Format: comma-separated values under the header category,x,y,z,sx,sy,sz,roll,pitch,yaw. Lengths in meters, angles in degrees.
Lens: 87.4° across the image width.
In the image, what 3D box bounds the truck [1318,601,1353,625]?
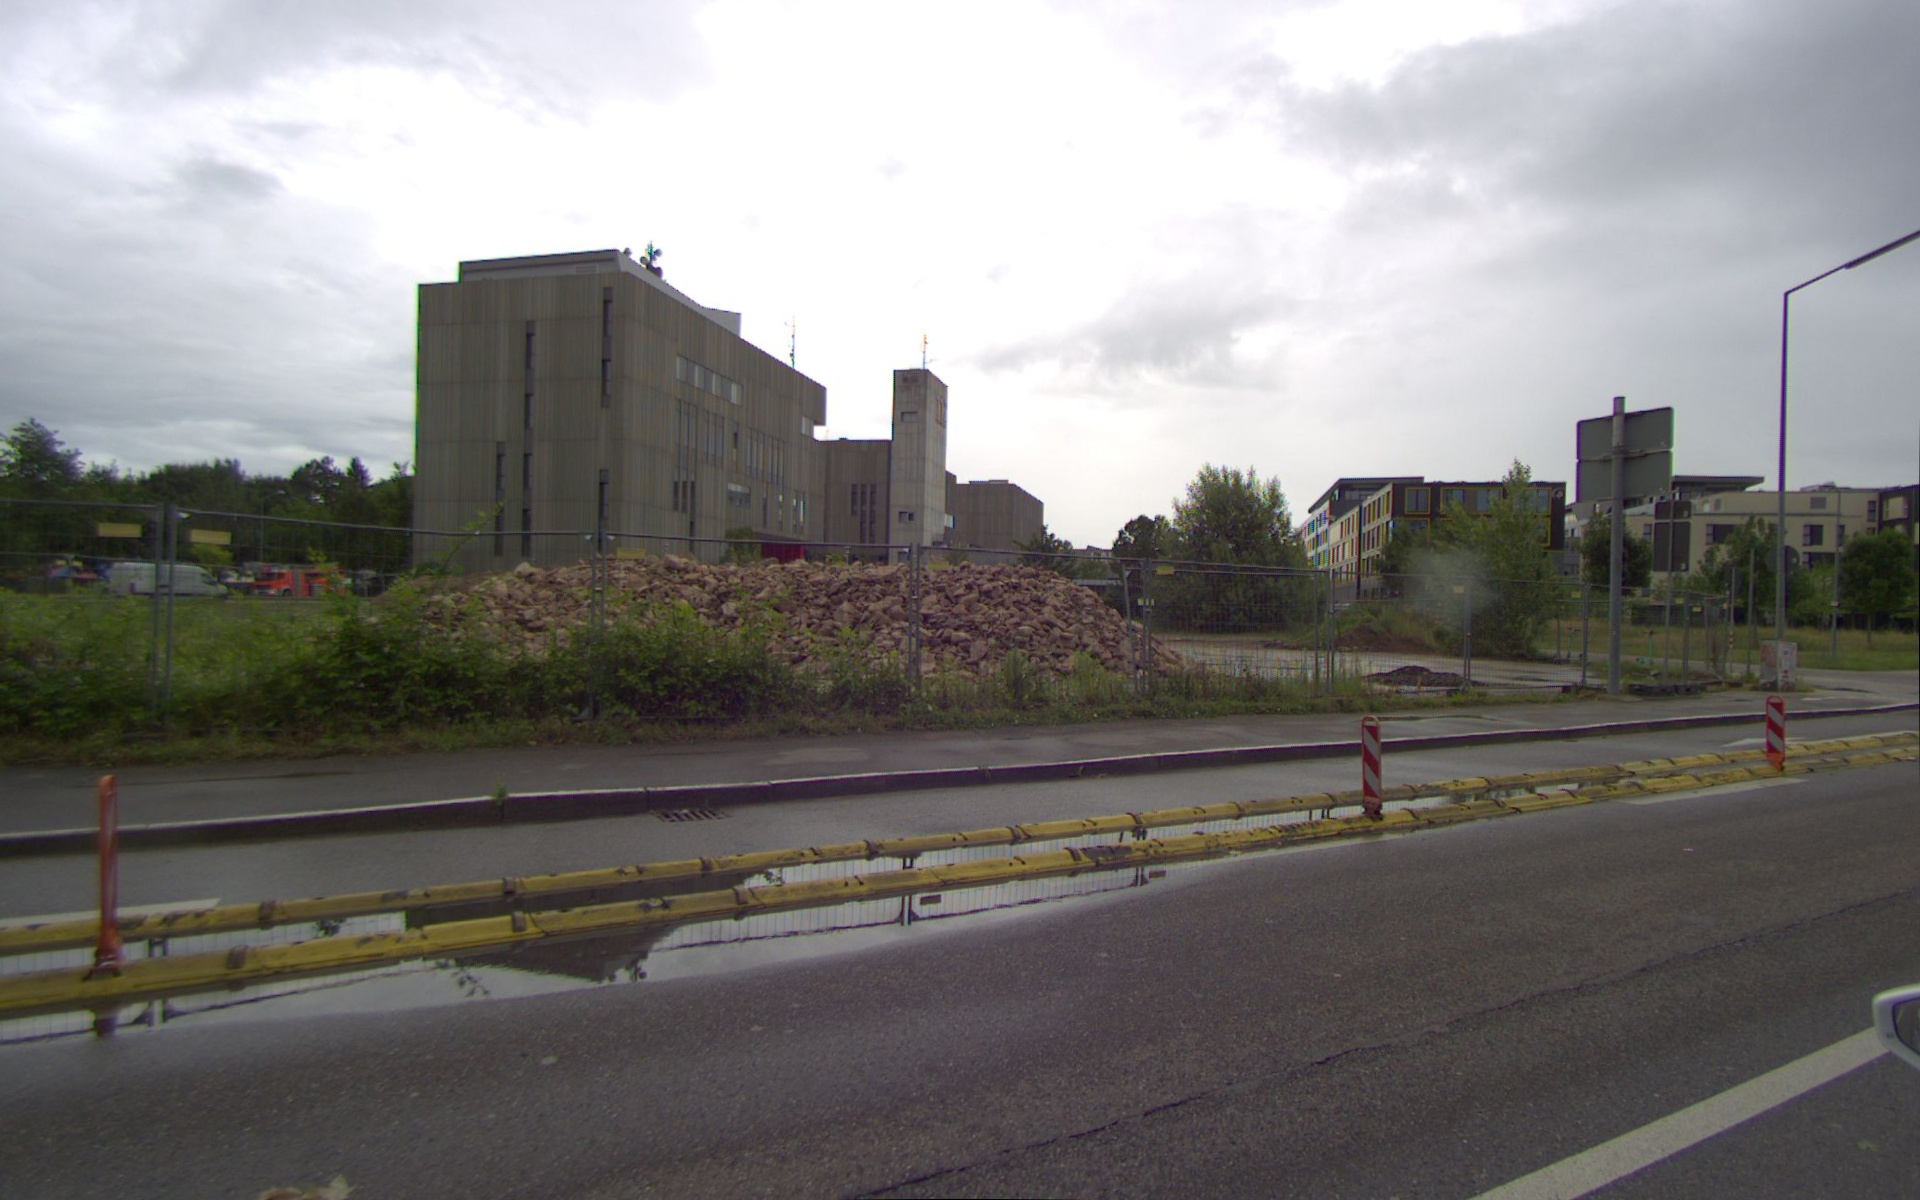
category,x,y,z,sx,sy,sz,roll,pitch,yaw
truck,45.713,1.515,122.459,2.782,2.742,7.323,1,0,11

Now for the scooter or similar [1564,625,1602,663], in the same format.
category,x,y,z,sx,sy,sz,roll,pitch,yaw
scooter or similar,20.652,1.445,33.321,0.403,1.157,1.338,3,1,3

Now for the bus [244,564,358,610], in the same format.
category,x,y,z,sx,sy,sz,roll,pitch,yaw
bus,-61.605,-1.183,94.261,2.679,4.035,9.896,1,0,12

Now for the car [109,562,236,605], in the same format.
category,x,y,z,sx,sy,sz,roll,pitch,yaw
car,-52.682,-1.072,67.432,2.349,2.740,6.576,1,0,15

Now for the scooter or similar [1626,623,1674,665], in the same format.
category,x,y,z,sx,sy,sz,roll,pitch,yaw
scooter or similar,20.926,1.316,30.503,0.644,1.157,1.903,2,1,18

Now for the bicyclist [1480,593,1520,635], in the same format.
category,x,y,z,sx,sy,sz,roll,pitch,yaw
bicyclist,24.876,0.635,46.291,1.056,1.925,1.401,1,0,-3

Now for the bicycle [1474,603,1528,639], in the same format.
category,x,y,z,sx,sy,sz,roll,pitch,yaw
bicycle,24.859,0.956,46.205,1.065,1.605,2.499,1,0,-2
